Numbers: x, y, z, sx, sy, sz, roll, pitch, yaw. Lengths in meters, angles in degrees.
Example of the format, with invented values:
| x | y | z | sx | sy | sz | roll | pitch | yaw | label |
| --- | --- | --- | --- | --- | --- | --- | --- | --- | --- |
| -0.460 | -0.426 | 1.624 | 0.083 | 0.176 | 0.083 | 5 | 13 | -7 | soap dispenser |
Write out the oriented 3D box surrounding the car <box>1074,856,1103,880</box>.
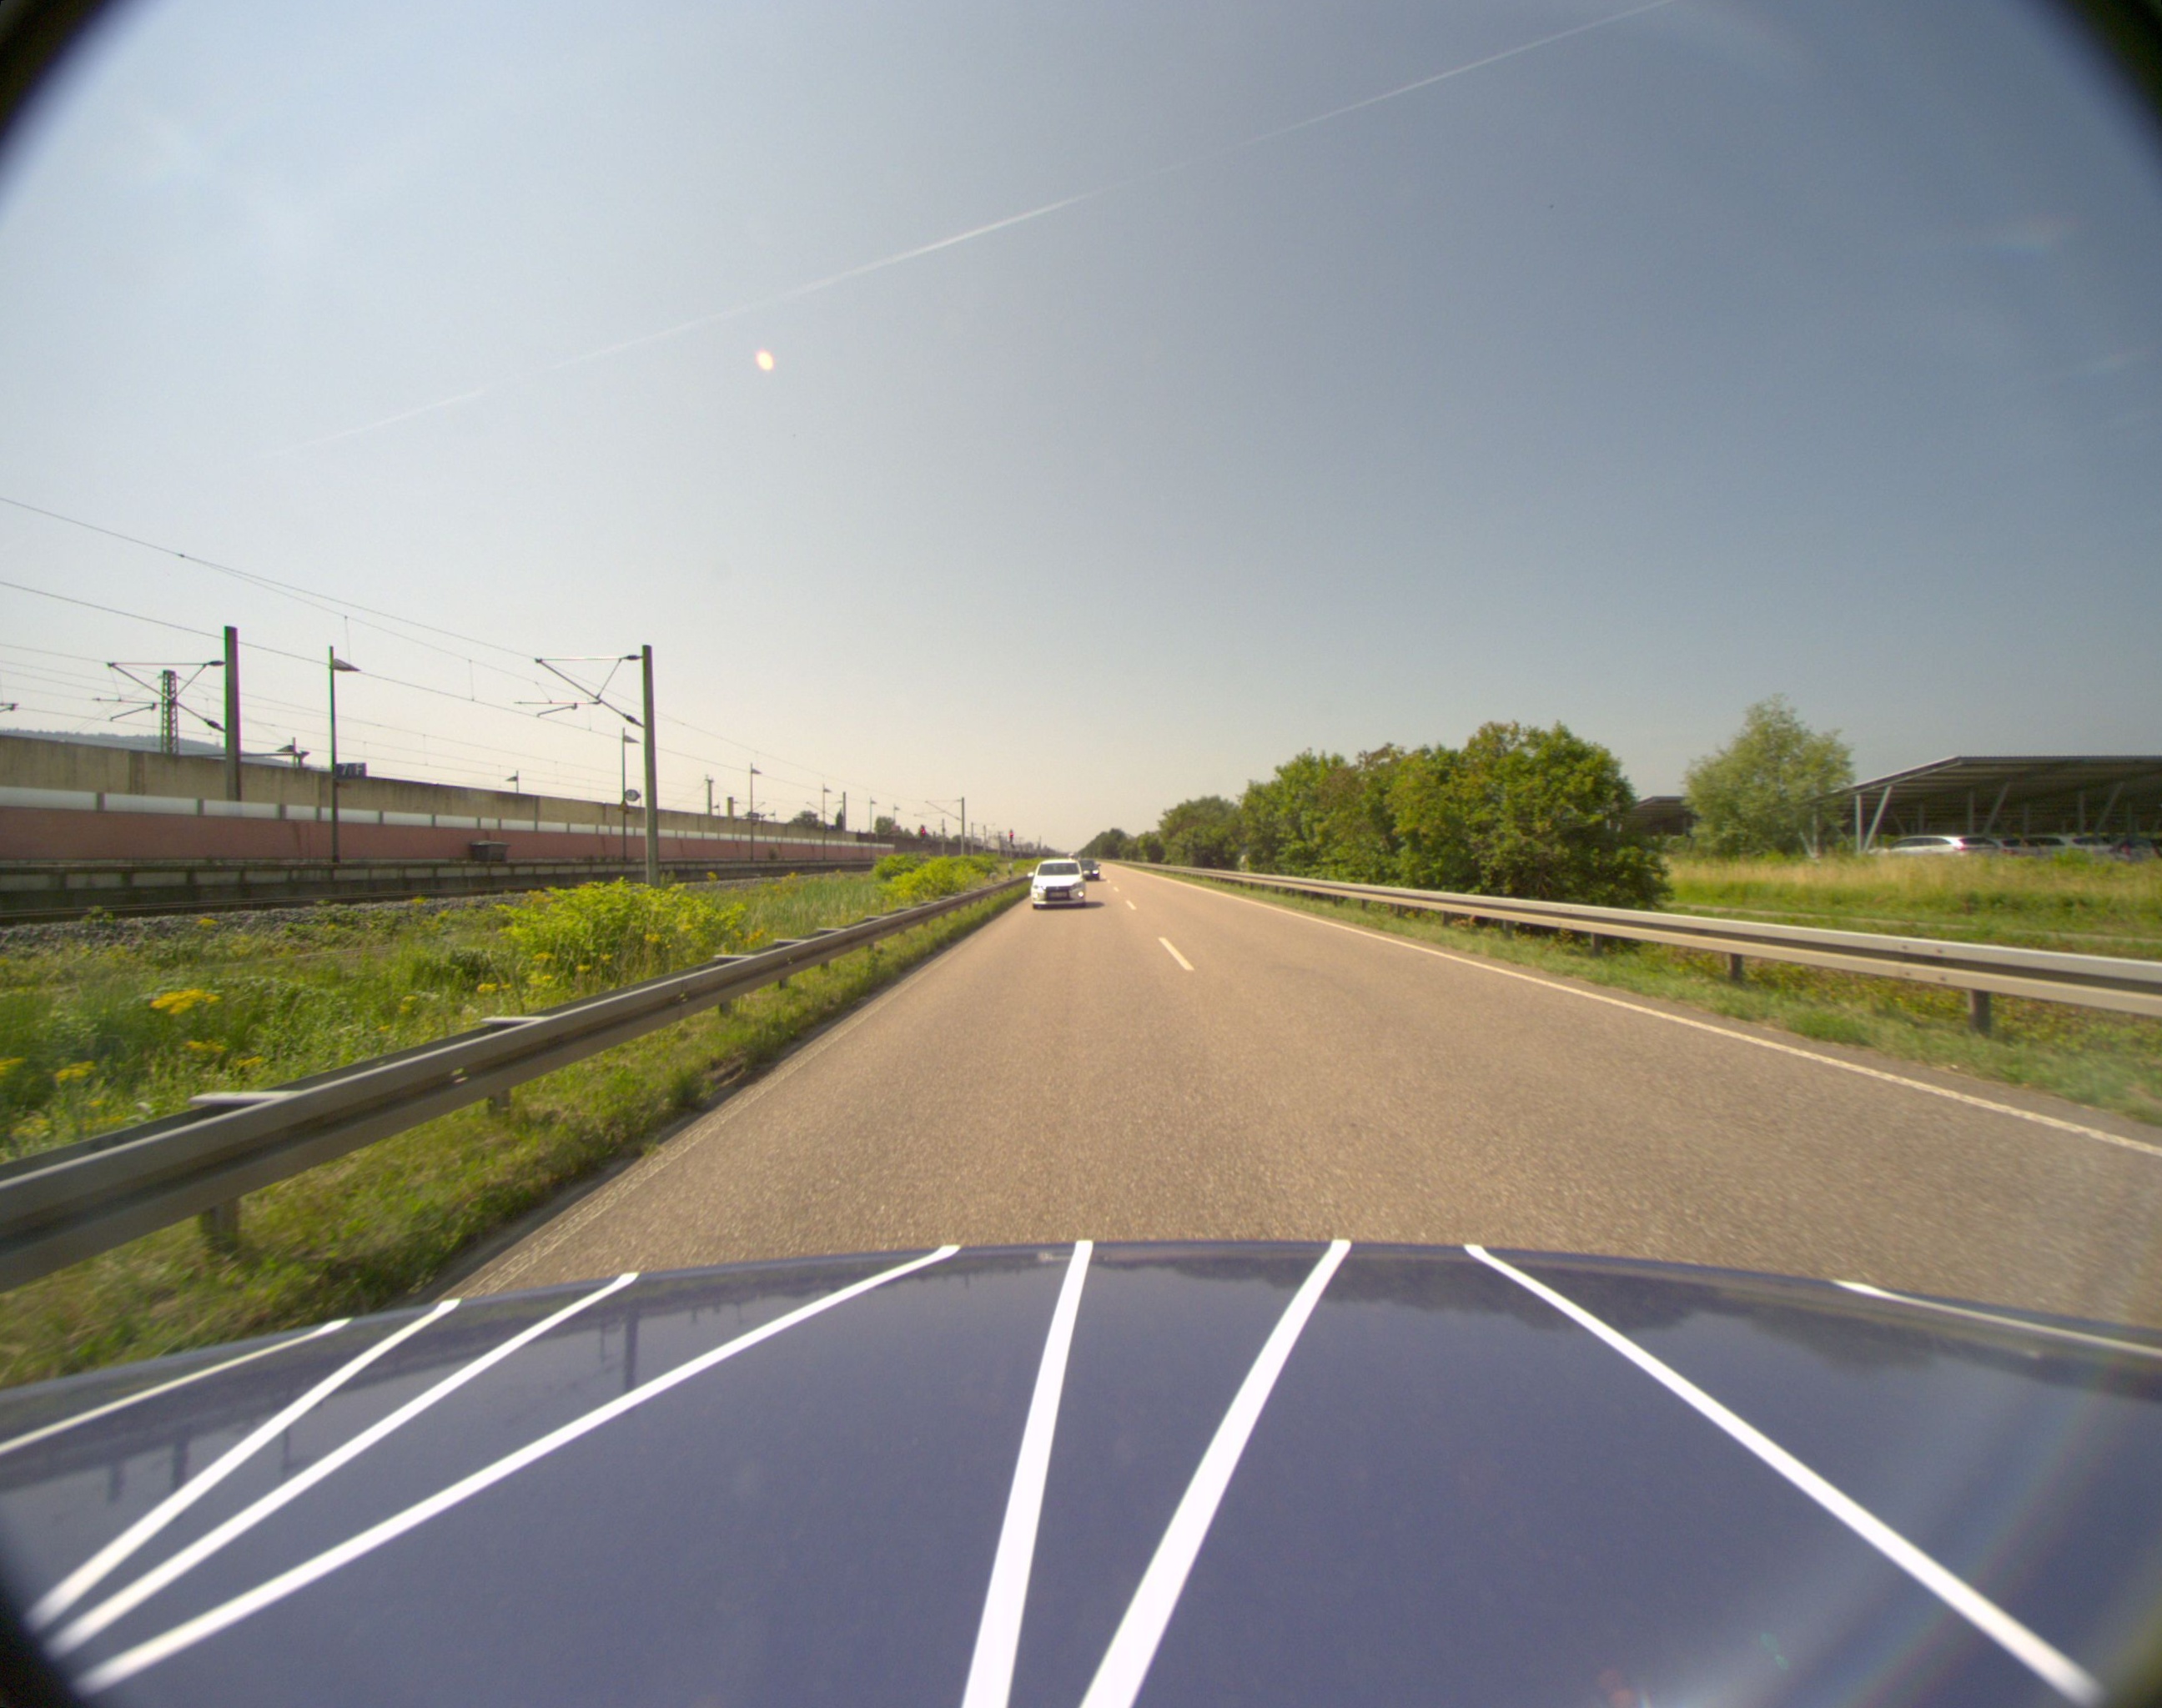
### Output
| x | y | z | sx | sy | sz | roll | pitch | yaw | label |
| --- | --- | --- | --- | --- | --- | --- | --- | --- | --- |
| 0.475 | 0.909 | 50.049 | 1.711 | 1.470 | 4.154 | -2 | 0 | -2 | car |

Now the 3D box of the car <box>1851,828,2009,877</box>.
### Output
| x | y | z | sx | sy | sz | roll | pitch | yaw | label |
| --- | --- | --- | --- | --- | --- | --- | --- | --- | --- |
| 37.488 | -0.066 | 33.751 | 1.998 | 2.002 | 4.517 | -1 | 0 | 1 | car |

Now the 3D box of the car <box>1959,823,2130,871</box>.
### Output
| x | y | z | sx | sy | sz | roll | pitch | yaw | label |
| --- | --- | --- | --- | --- | --- | --- | --- | --- | --- |
| 42.975 | -0.288 | 34.095 | 1.998 | 2.002 | 4.517 | -1 | 0 | 1 | car |

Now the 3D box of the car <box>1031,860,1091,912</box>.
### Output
| x | y | z | sx | sy | sz | roll | pitch | yaw | label |
| --- | --- | --- | --- | --- | --- | --- | --- | --- | --- |
| -0.648 | 0.949 | 24.417 | 1.701 | 1.470 | 4.154 | -2 | 0 | -2 | car |
